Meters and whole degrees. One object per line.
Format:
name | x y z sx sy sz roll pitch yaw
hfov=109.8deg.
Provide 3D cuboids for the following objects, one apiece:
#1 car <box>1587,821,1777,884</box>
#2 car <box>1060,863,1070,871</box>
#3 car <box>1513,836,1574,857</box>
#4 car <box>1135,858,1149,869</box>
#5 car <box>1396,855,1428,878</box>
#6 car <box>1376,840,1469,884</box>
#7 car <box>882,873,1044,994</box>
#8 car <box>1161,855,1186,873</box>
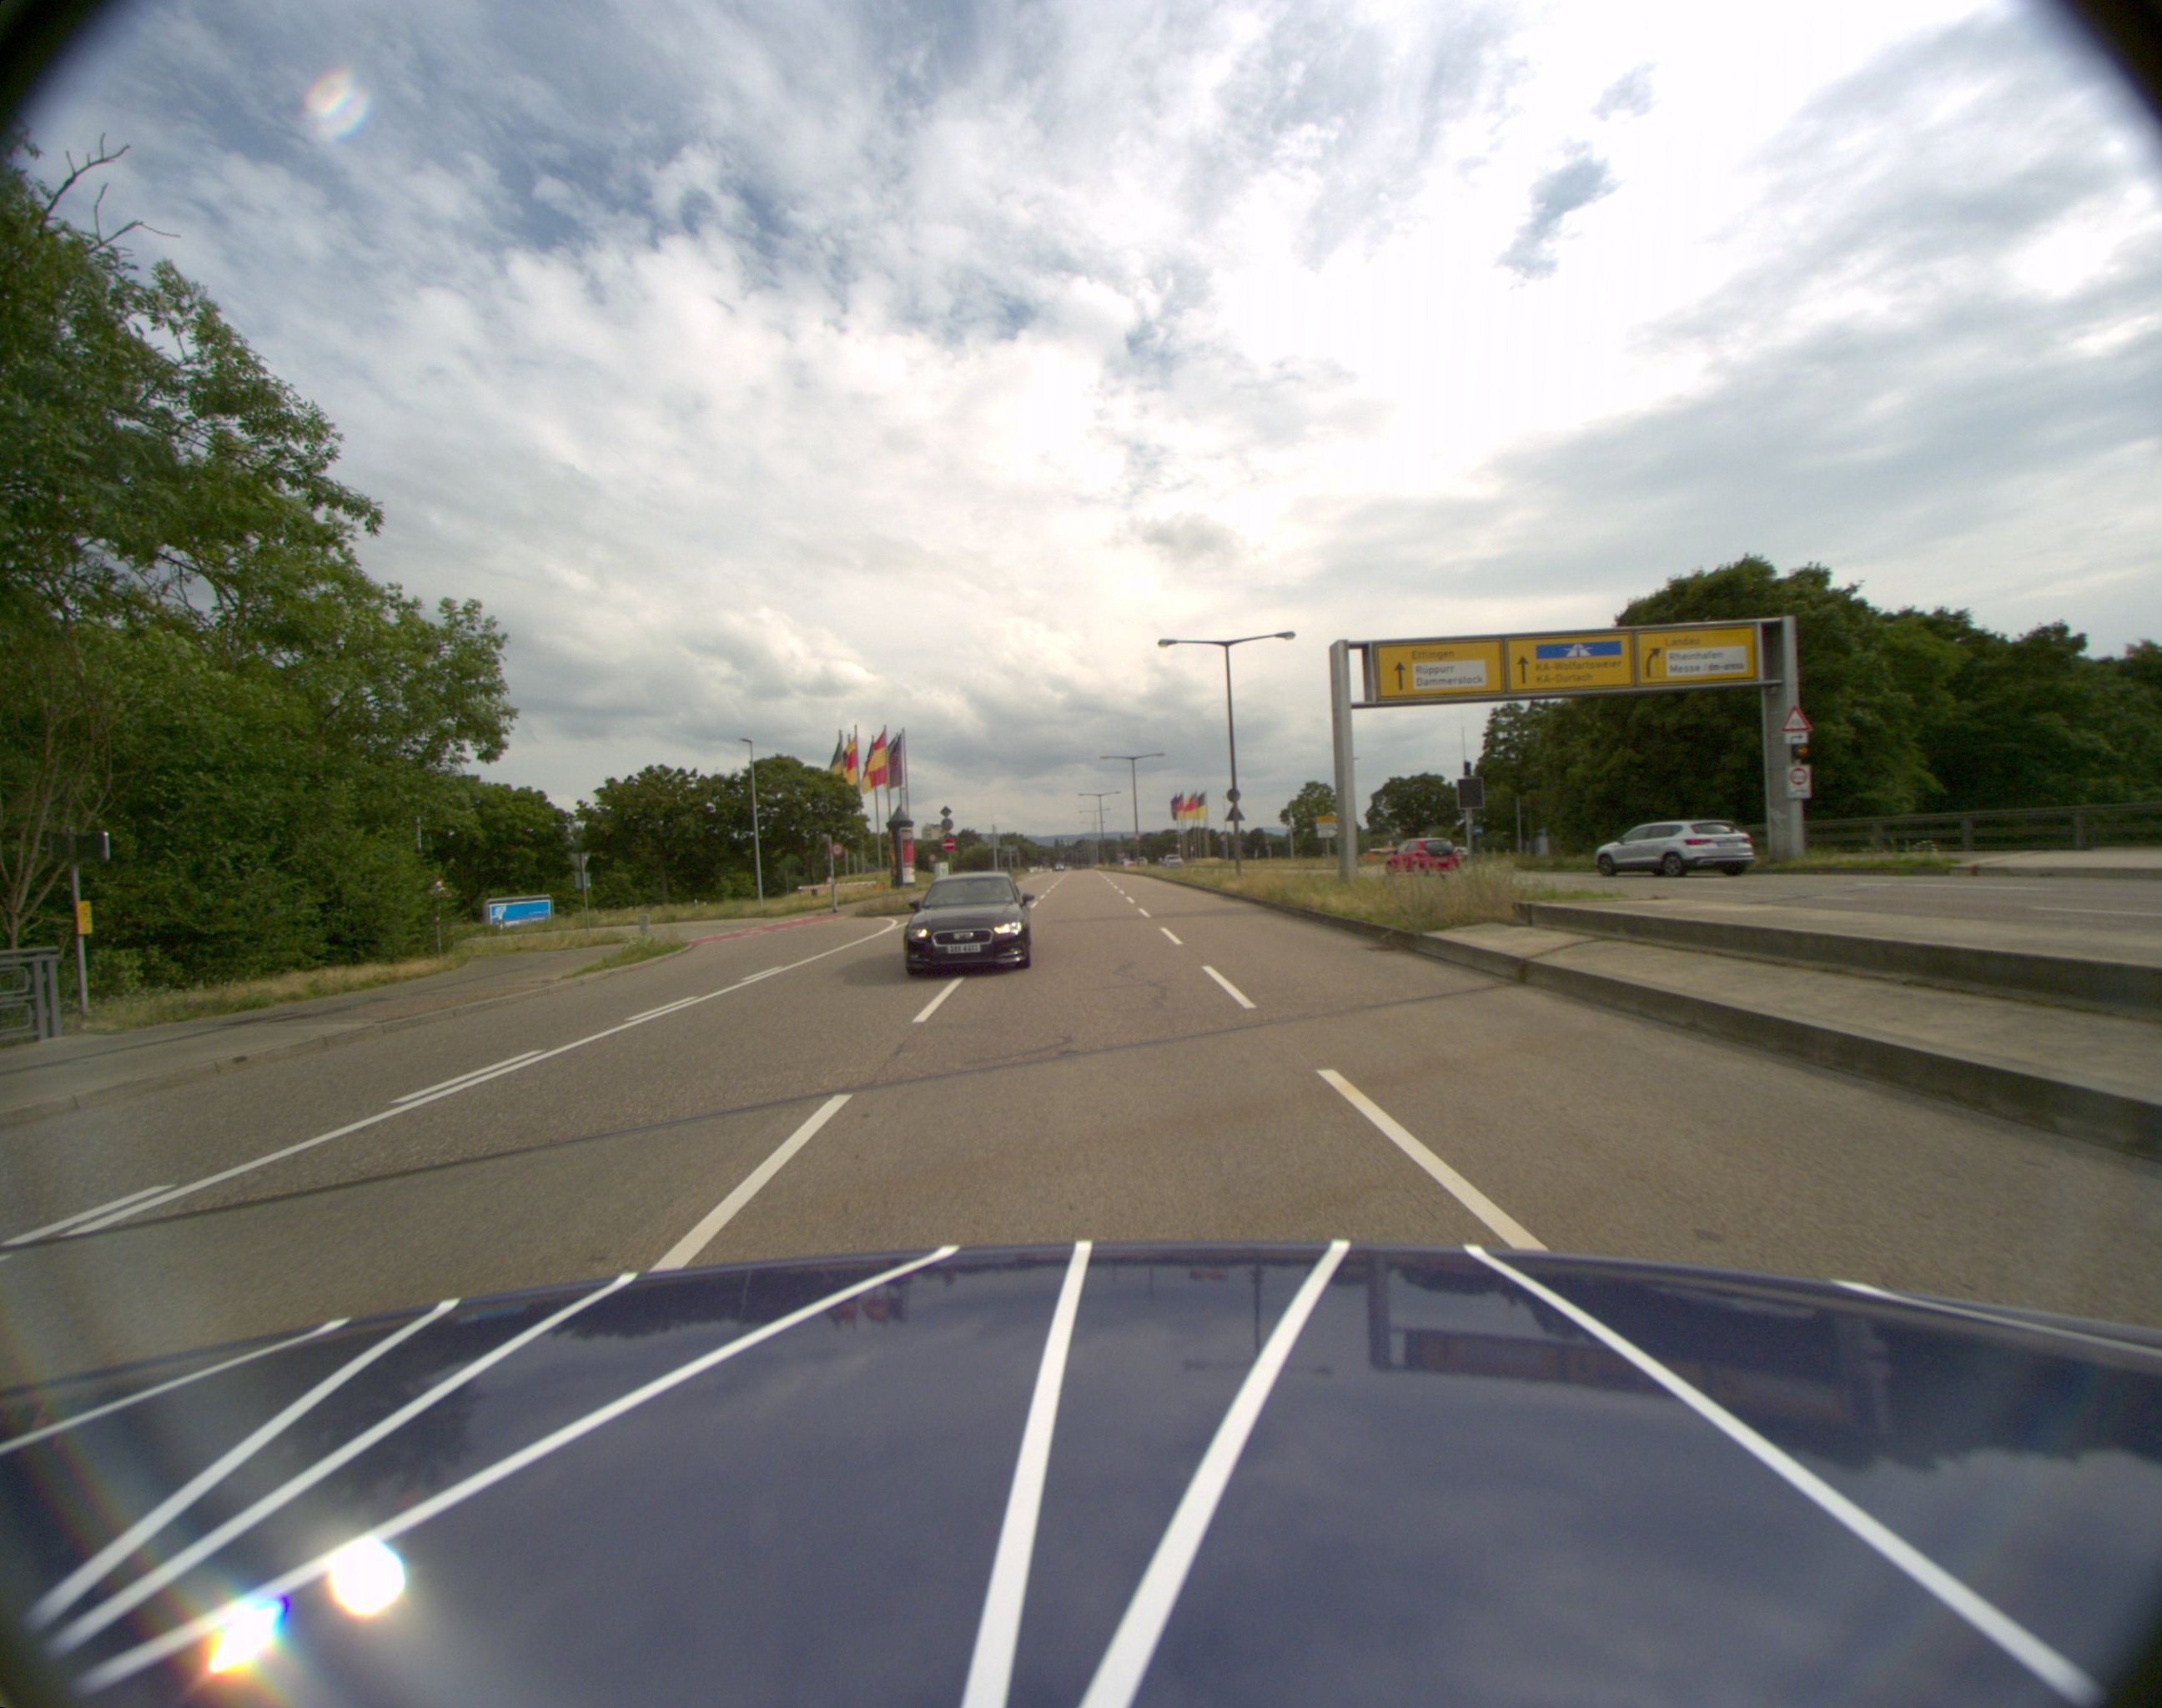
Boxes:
car | 16.958 -0.052 21.786 1.892 1.523 4.452 -3 1 0
car | -3.486 2.872 168.347 1.998 1.518 4.000 -5 0 1
car | 36.724 -0.592 60.318 4.003 1.275 1.997 -5 0 -20
car | 9.839 1.508 122.600 1.776 1.598 3.876 -3 1 -2
car | 22.683 0.874 52.048 1.888 1.518 4.677 0 -1 24
car | 13.264 0.279 29.780 1.727 1.523 3.916 -3 1 -2
car | -1.647 1.095 12.270 1.852 1.355 4.729 -3 0 0
car | 8.863 1.010 73.178 1.776 1.597 3.877 -3 -1 -2
